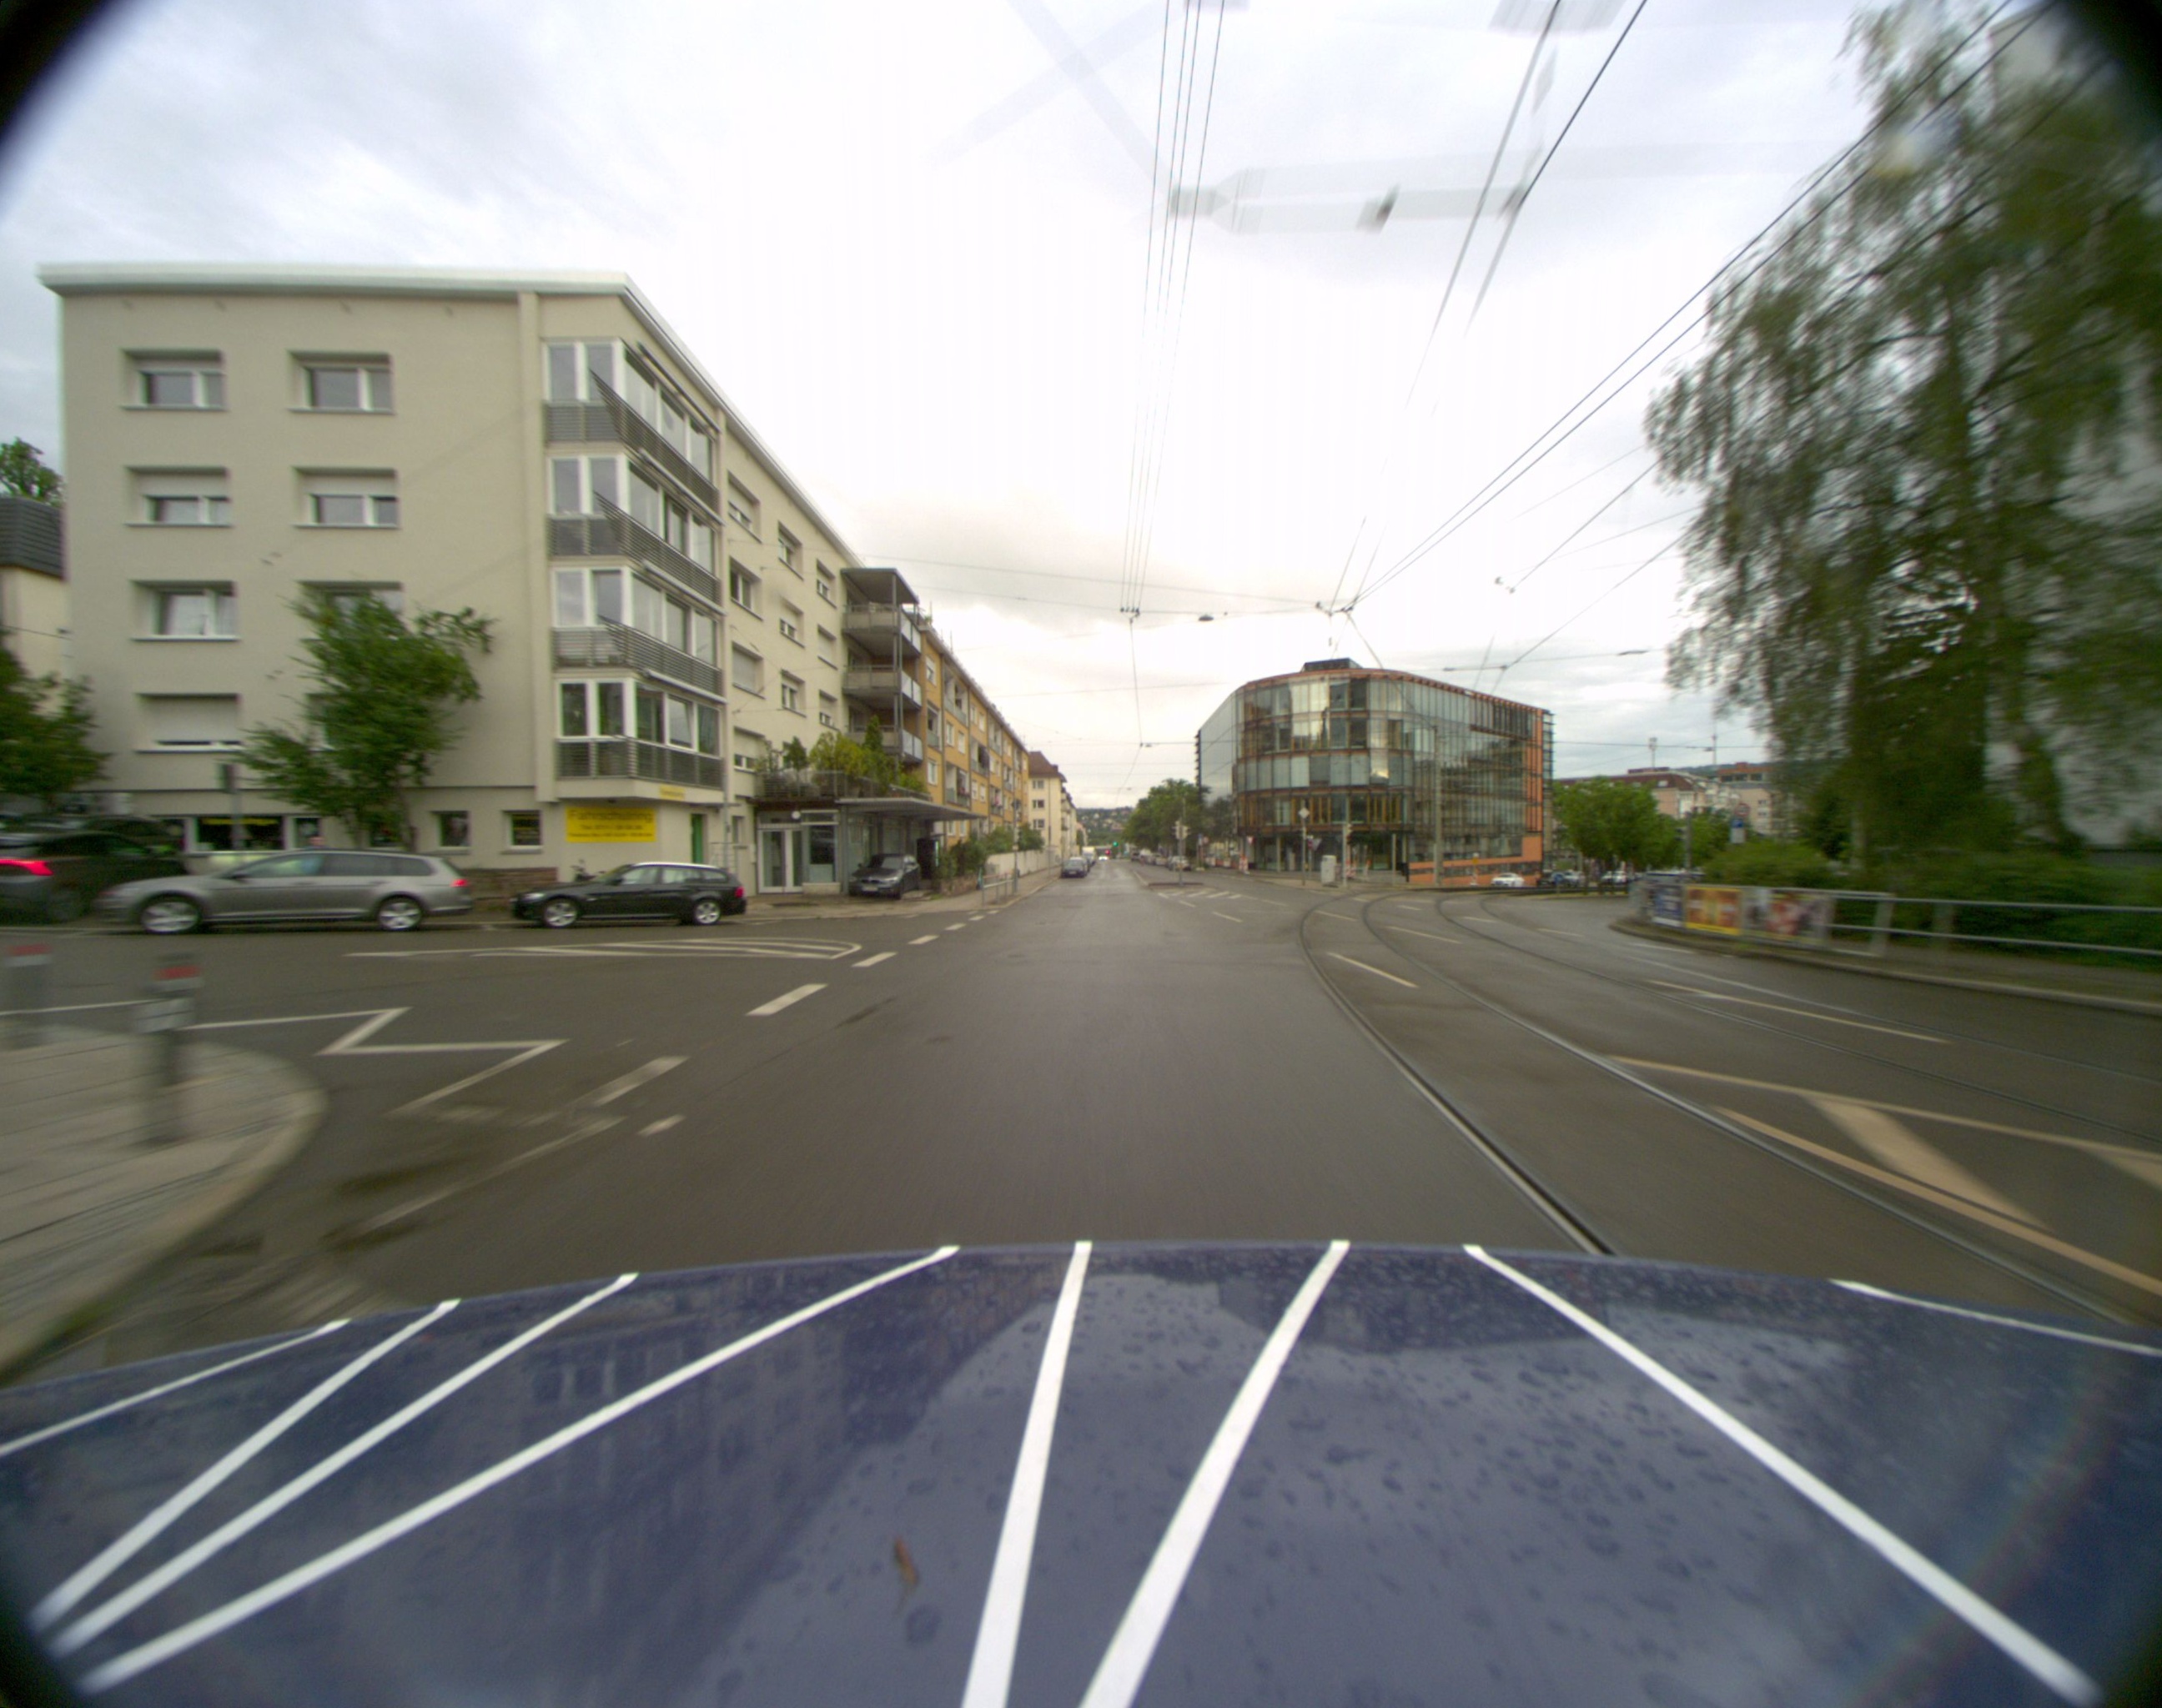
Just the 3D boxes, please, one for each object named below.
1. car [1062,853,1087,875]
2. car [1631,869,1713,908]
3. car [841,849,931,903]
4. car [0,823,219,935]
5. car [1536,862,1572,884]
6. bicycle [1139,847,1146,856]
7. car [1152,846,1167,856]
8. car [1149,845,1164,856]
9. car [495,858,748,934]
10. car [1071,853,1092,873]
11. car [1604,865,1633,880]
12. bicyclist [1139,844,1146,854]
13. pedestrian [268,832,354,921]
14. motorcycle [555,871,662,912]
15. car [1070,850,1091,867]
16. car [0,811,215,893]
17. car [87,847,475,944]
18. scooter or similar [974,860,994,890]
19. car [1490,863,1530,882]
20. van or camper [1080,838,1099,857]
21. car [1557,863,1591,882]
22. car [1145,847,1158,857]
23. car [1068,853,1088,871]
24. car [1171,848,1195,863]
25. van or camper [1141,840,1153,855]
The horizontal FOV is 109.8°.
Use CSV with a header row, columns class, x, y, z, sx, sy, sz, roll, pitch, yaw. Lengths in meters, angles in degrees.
class,x,y,z,sx,sy,sz,roll,pitch,yaw
car,-0.482,0.765,58.278,1.734,1.452,4.477,-2,2,1
car,24.680,1.405,31.678,4.502,1.452,1.868,2,1,-42
car,-6.802,0.701,26.962,1.857,1.495,4.447,2,3,2
car,-18.289,0.347,13.630,2.005,1.607,4.438,5,-1,-25
car,47.951,1.895,76.952,4.007,1.882,1.912,-3,2,-39
bicycle,8.827,-0.386,108.866,0.826,1.142,2.127,-1,2,2
car,11.848,-0.538,115.070,1.880,1.390,3.998,-1,2,-1
car,11.906,-0.565,120.161,1.880,1.700,3.998,-1,2,-1
car,-10.022,0.909,16.766,4.459,1.448,1.996,3,-3,-41
car,0.051,0.711,63.017,1.652,1.452,4.101,-2,2,0
car,63.483,2.163,89.699,4.007,1.501,1.784,-3,2,-39
bicyclist,8.807,-0.694,108.749,0.826,1.453,1.140,-2,2,2
pedestrian,-16.219,0.473,16.040,1.025,1.788,0.777,4,0,-31
motorcycle,-11.927,0.950,19.229,2.219,0.973,0.550,3,-1,-41
car,-0.001,0.413,75.438,1.915,1.418,4.450,-2,2,1
car,-21.392,-0.051,16.043,2.000,1.537,3.995,-2,2,-11
car,-13.707,0.701,13.521,4.459,1.448,1.996,3,-1,-40
scooter or similar,-4.536,0.955,35.633,0.536,1.320,1.659,4,1,3
car,39.550,1.687,70.021,4.007,1.488,1.912,-3,2,-39
van or camper,1.445,-1.107,126.479,2.753,3.041,7.029,-1,2,3
car,52.182,1.917,80.372,4.007,1.740,1.912,-3,2,-39
car,12.139,-0.363,131.267,1.880,1.456,3.517,-1,2,-1
car,-0.253,0.753,69.560,1.690,1.445,3.553,-2,2,1
car,10.040,0.136,75.217,1.862,1.386,4.644,0,0,1
van or camper,12.681,-1.288,146.580,2.143,2.588,5.549,-2,2,3
